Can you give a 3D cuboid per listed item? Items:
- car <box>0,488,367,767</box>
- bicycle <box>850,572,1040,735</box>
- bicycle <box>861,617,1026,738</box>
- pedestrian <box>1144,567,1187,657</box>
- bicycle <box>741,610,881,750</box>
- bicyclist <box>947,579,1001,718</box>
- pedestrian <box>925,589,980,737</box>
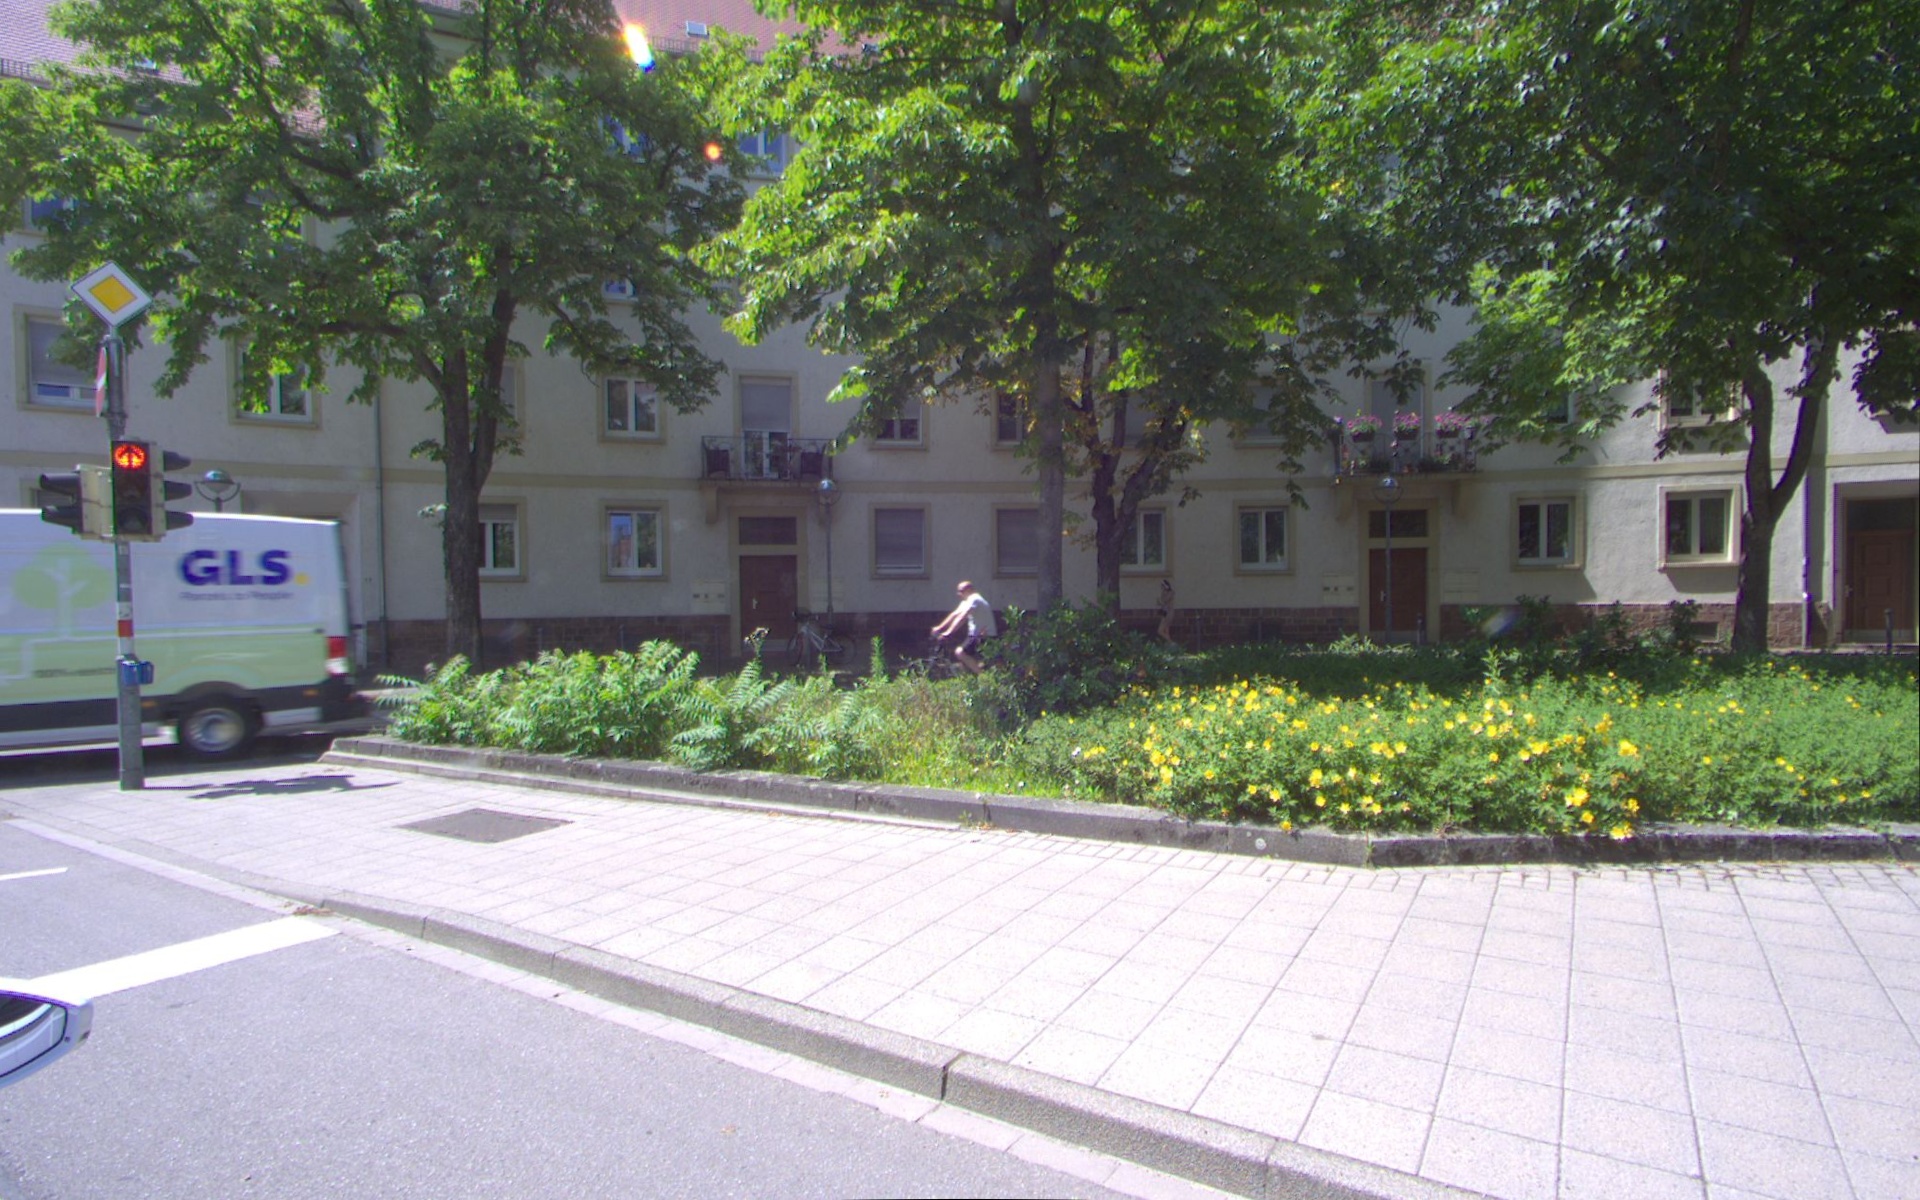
[{"bbox_3d":[-9.491,0.260,10.294,5.767,2.624,1.989,-1,1,-31],"label":"car"},{"bbox_3d":[-0.169,0.493,9.111,1.809,1.377,0.351,-2,-1,32],"label":"bicycle"},{"bbox_3d":[-0.207,0.990,13.350,2.133,1.505,0.591,0,0,-24],"label":"bicycle"},{"bbox_3d":[4.709,0.280,23.039,0.758,2.040,0.807,-1,0,-5],"label":"pedestrian"},{"bbox_3d":[-1.304,0.679,8.657,1.269,1.141,0.332,-2,-1,32],"label":"bicycle"},{"bbox_3d":[0.186,0.646,13.542,0.525,1.823,0.602,0,0,-24],"label":"bicyclist"},{"bbox_3d":[-0.067,0.555,9.051,0.345,1.301,0.365,-1,0,32],"label":"pedestrian"}]
